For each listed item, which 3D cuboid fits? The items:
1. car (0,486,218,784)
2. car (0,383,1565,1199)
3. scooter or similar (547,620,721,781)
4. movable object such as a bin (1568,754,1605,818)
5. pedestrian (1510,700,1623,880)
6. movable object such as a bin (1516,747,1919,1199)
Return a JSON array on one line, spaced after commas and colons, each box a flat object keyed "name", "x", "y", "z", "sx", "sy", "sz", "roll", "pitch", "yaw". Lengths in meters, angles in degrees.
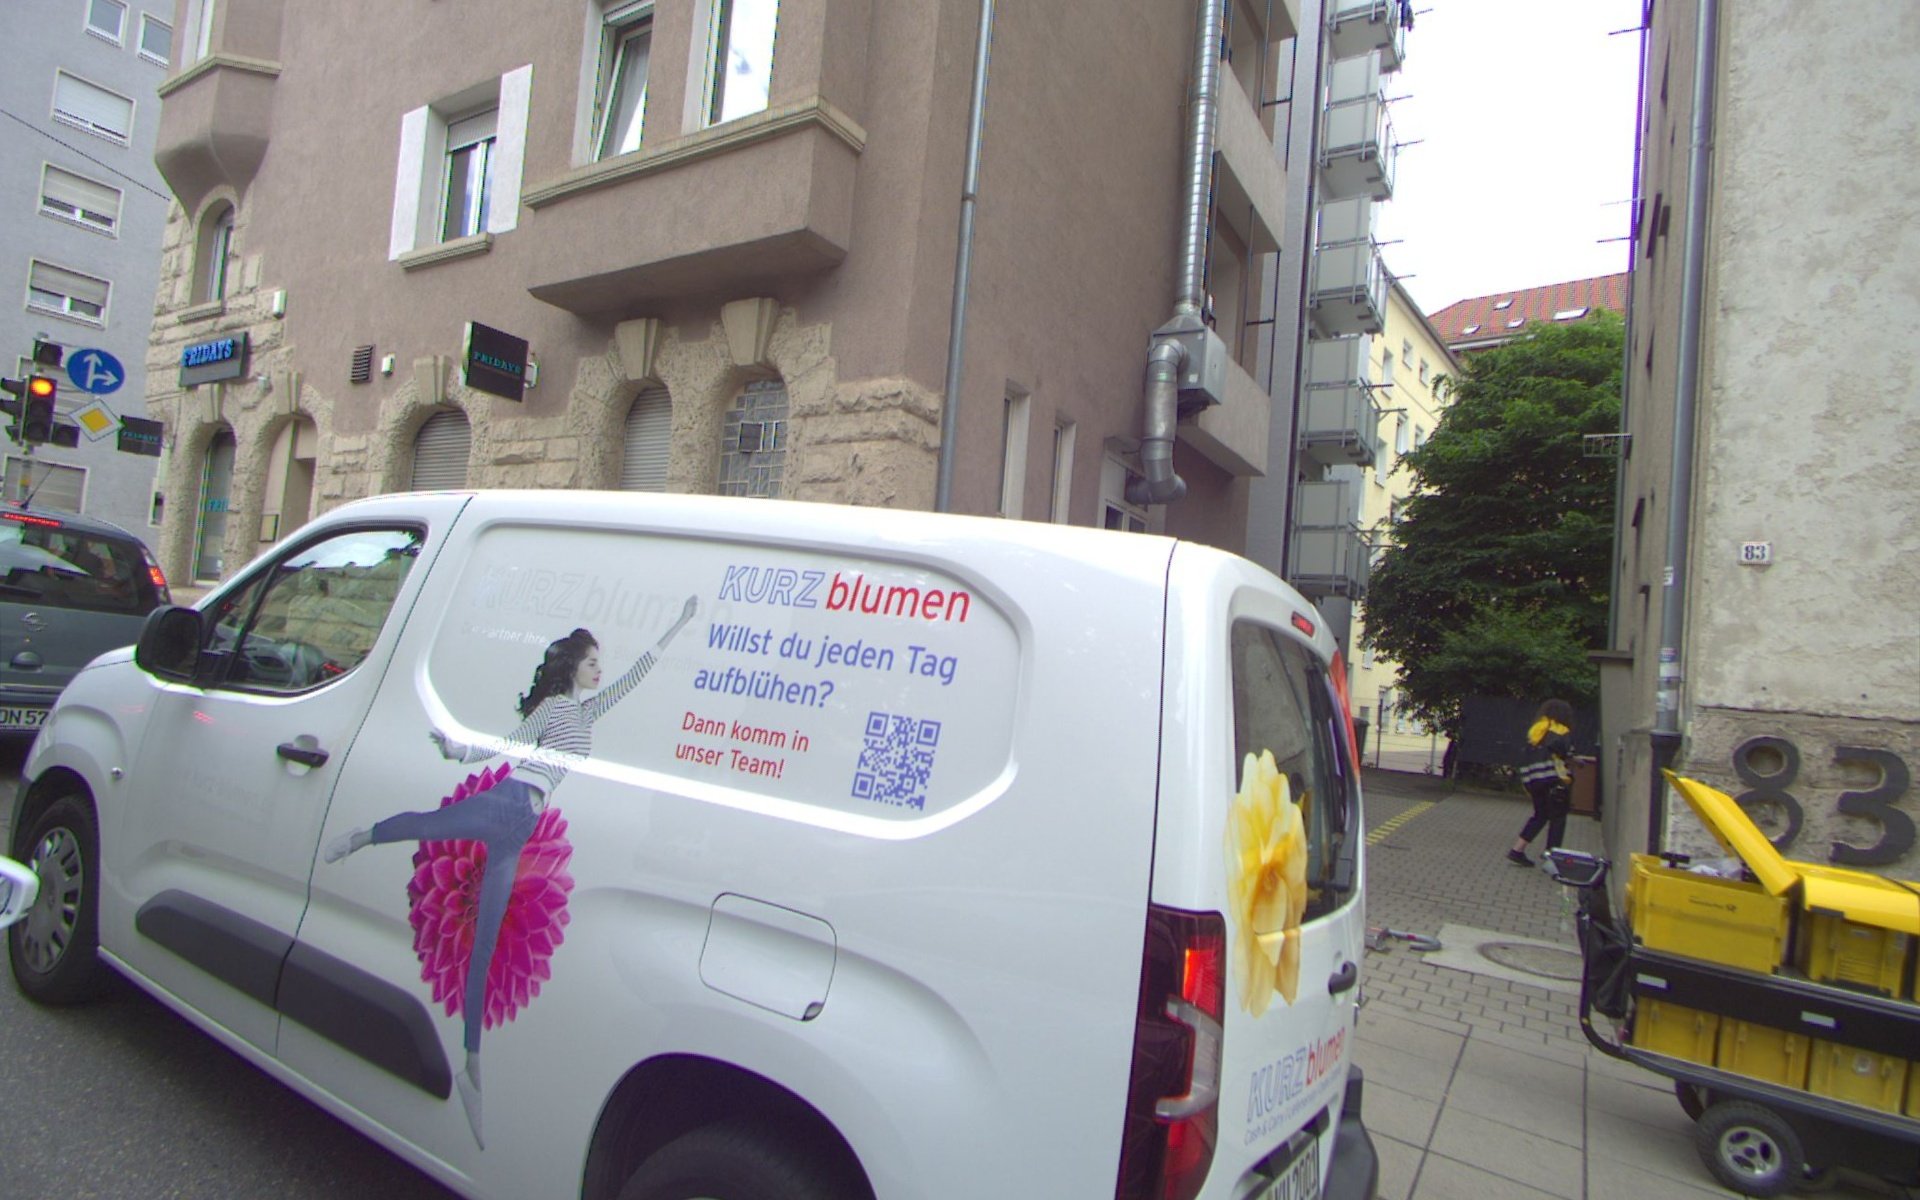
[{"name": "car", "x": -6.707, "y": 0.051, "z": 6.525, "sx": 3.608, "sy": 1.614, "sz": 1.634, "roll": 6, "pitch": -5, "yaw": 32}, {"name": "car", "x": -0.931, "y": 0.572, "z": 3.131, "sx": 4.597, "sy": 1.793, "sz": 1.983, "roll": 6, "pitch": -5, "yaw": 30}, {"name": "scooter or similar", "x": -2.743, "y": 0.812, "z": 8.409, "sx": 1.400, "sy": 1.117, "sz": 0.527, "roll": 6, "pitch": -1, "yaw": 34}, {"name": "movable object such as a bin", "x": 9.936, "y": 2.949, "z": 15.973, "sx": 0.405, "sy": 0.922, "sz": 0.340, "roll": 6, "pitch": -1, "yaw": 32}, {"name": "pedestrian", "x": 6.081, "y": 1.866, "z": 10.133, "sx": 0.769, "sy": 1.665, "sz": 0.812, "roll": 1, "pitch": -3, "yaw": 16}, {"name": "movable object such as a bin", "x": 3.392, "y": 1.463, "z": 3.959, "sx": 1.979, "sy": 1.391, "sz": 1.223, "roll": 6, "pitch": 0, "yaw": 30}]
